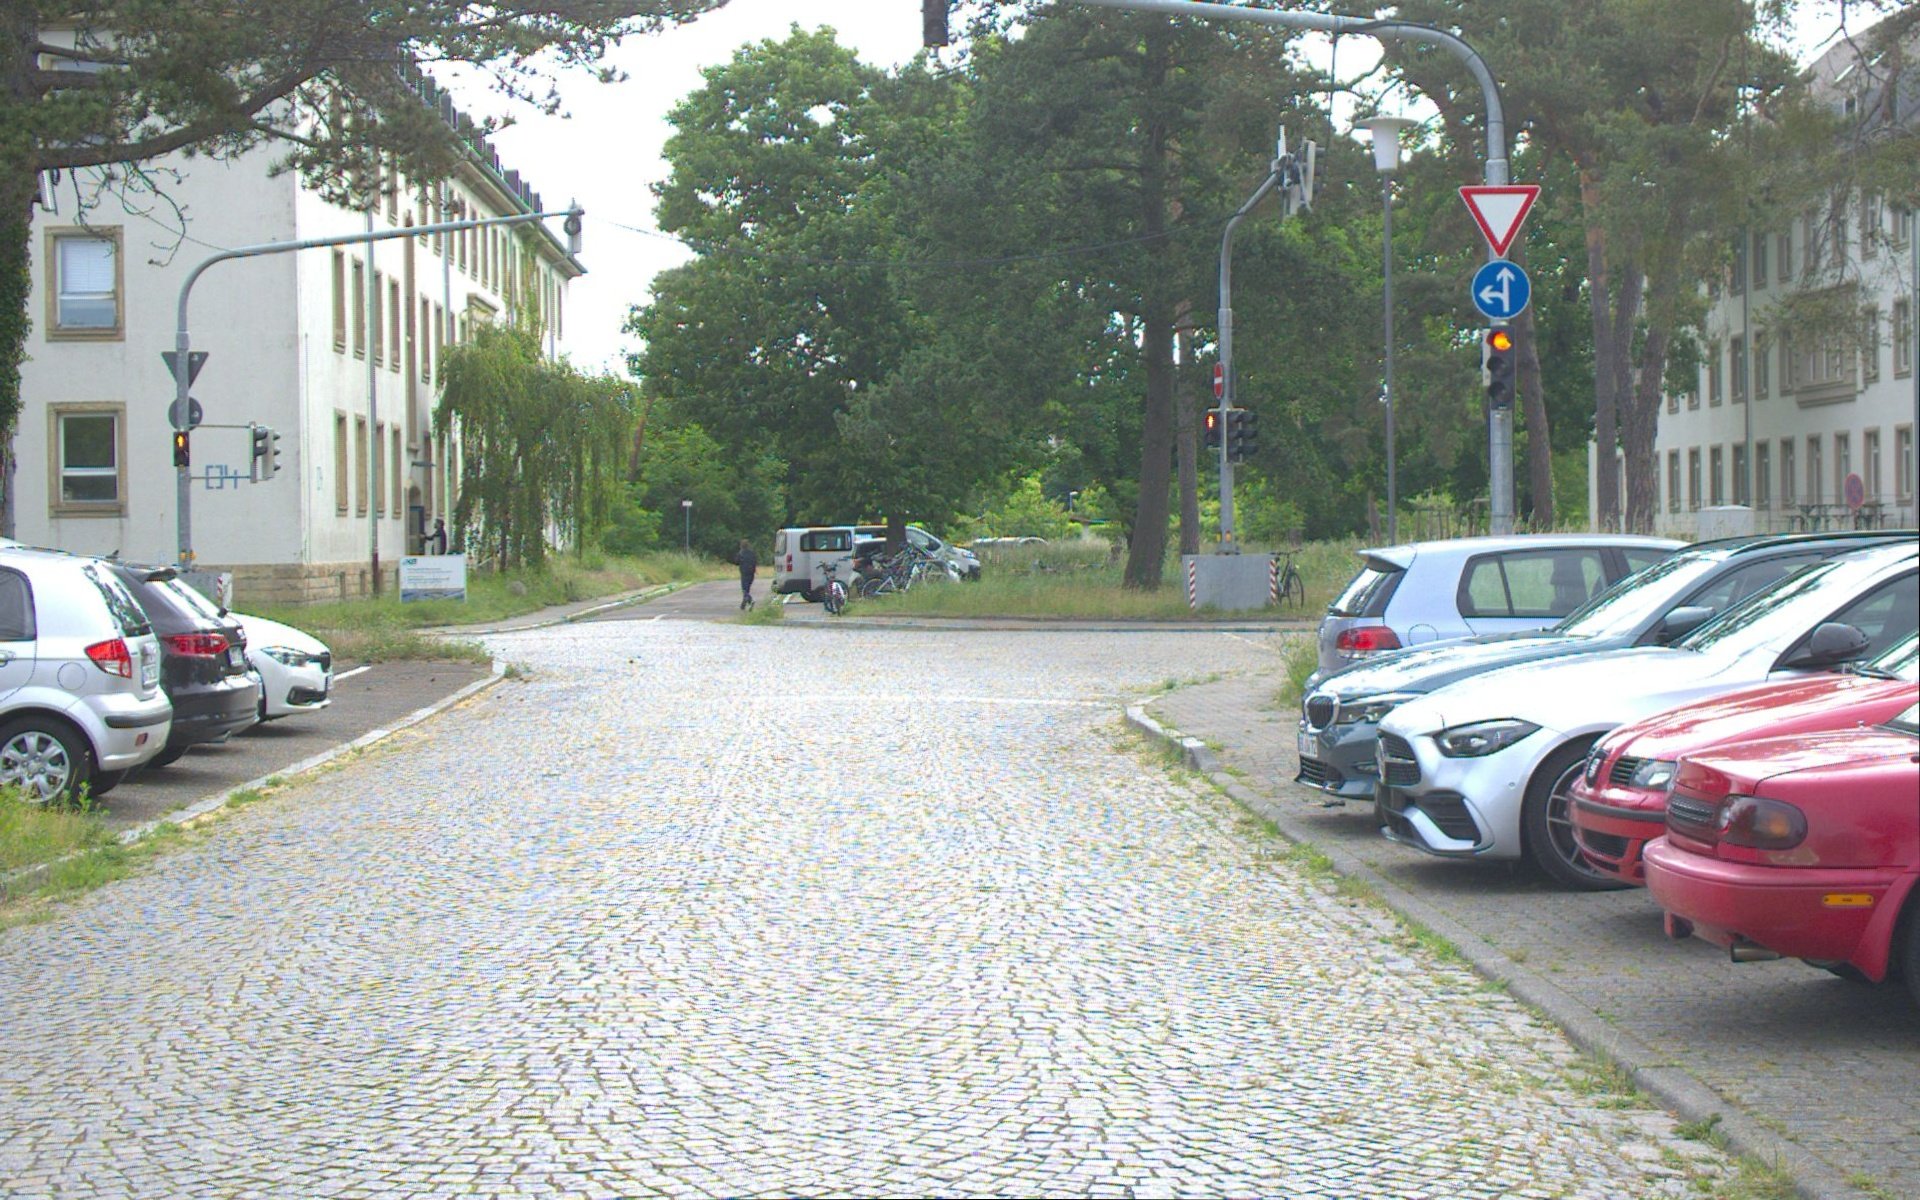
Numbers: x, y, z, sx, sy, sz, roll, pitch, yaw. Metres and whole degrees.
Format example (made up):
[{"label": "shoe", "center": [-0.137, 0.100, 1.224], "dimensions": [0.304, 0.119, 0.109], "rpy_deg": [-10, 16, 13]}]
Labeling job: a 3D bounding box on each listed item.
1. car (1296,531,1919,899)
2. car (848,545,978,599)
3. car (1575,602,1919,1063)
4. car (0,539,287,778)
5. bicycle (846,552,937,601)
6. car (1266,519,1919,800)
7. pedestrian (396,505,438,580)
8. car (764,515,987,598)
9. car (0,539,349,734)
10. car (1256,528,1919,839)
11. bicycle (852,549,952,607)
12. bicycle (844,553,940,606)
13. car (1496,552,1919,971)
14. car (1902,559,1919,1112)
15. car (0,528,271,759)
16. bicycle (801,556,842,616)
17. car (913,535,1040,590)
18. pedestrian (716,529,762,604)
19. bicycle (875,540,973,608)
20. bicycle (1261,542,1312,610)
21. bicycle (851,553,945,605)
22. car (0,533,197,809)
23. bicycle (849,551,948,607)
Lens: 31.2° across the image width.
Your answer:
[{"label": "car", "center": [3.935, 0.424, 15.500], "dimensions": [4.421, 1.412, 1.871], "rpy_deg": [-2, 1, -10]}, {"label": "car", "center": [-1.165, -0.696, 84.094], "dimensions": [3.005, 1.264, 1.535], "rpy_deg": [-1, 1, -7]}, {"label": "car", "center": [4.056, 0.611, 10.751], "dimensions": [3.862, 1.232, 1.758], "rpy_deg": [-2, 1, -3]}, {"label": "car", "center": [-6.347, 0.322, 22.164], "dimensions": [3.745, 1.424, 1.583], "rpy_deg": [2, 1, -5]}, {"label": "bicycle", "center": [-1.515, -0.532, 76.515], "dimensions": [1.955, 1.066, 0.588], "rpy_deg": [-1, 1, -26]}, {"label": "car", "center": [3.899, 0.327, 20.639], "dimensions": [3.927, 1.472, 1.642], "rpy_deg": [-2, 1, 0]}, {"label": "pedestrian", "center": [-13.393, -1.413, 84.781], "dimensions": [0.774, 1.831, 0.741], "rpy_deg": [-1, 1, -33]}, {"label": "car", "center": [-2.174, -1.107, 87.427], "dimensions": [5.359, 1.918, 2.025], "rpy_deg": [-2, 1, -10]}, {"label": "car", "center": [-7.005, 0.250, 27.471], "dimensions": [3.947, 1.416, 1.650], "rpy_deg": [2, 1, -2]}, {"label": "car", "center": [4.059, 0.374, 18.191], "dimensions": [4.680, 1.412, 1.871], "rpy_deg": [-2, 1, -4]}, {"label": "bicycle", "center": [-1.168, -0.447, 69.368], "dimensions": [1.954, 1.128, 0.588], "rpy_deg": [-1, 1, -8]}, {"label": "bicycle", "center": [-1.412, -0.435, 71.480], "dimensions": [1.955, 1.066, 0.588], "rpy_deg": [-1, 1, -31]}, {"label": "car", "center": [4.386, 0.513, 13.244], "dimensions": [4.261, 1.412, 1.871], "rpy_deg": [-2, 1, -2]}, {"label": "car", "center": [4.438, 0.570, 8.132], "dimensions": [3.862, 1.467, 1.758], "rpy_deg": [-2, 1, -3]}, {"label": "car", "center": [-7.116, 0.255, 24.924], "dimensions": [3.947, 1.558, 1.650], "rpy_deg": [2, 1, -5]}, {"label": "bicycle", "center": [-2.665, -0.281, 66.133], "dimensions": [0.603, 1.128, 1.962], "rpy_deg": [-1, 1, -7]}, {"label": "car", "center": [0.428, -0.994, 91.379], "dimensions": [3.231, 1.411, 1.725], "rpy_deg": [-1, 1, -4]}, {"label": "pedestrian", "center": [-4.839, -0.737, 75.248], "dimensions": [0.738, 1.613, 0.776], "rpy_deg": [-1, 1, -26]}, {"label": "bicycle", "center": [-0.742, -0.532, 70.843], "dimensions": [1.954, 1.379, 0.588], "rpy_deg": [-1, 1, -8]}, {"label": "bicycle", "center": [5.445, -0.414, 57.424], "dimensions": [0.586, 1.102, 1.962], "rpy_deg": [0, 1, -2]}, {"label": "bicycle", "center": [-1.306, -0.457, 72.833], "dimensions": [1.955, 1.066, 0.588], "rpy_deg": [-1, 1, -31]}, {"label": "car", "center": [-6.355, 0.331, 19.565], "dimensions": [3.702, 1.474, 1.583], "rpy_deg": [2, 1, -5]}, {"label": "bicycle", "center": [-1.254, -0.434, 70.000], "dimensions": [1.954, 1.113, 0.588], "rpy_deg": [-1, 1, -8]}]
